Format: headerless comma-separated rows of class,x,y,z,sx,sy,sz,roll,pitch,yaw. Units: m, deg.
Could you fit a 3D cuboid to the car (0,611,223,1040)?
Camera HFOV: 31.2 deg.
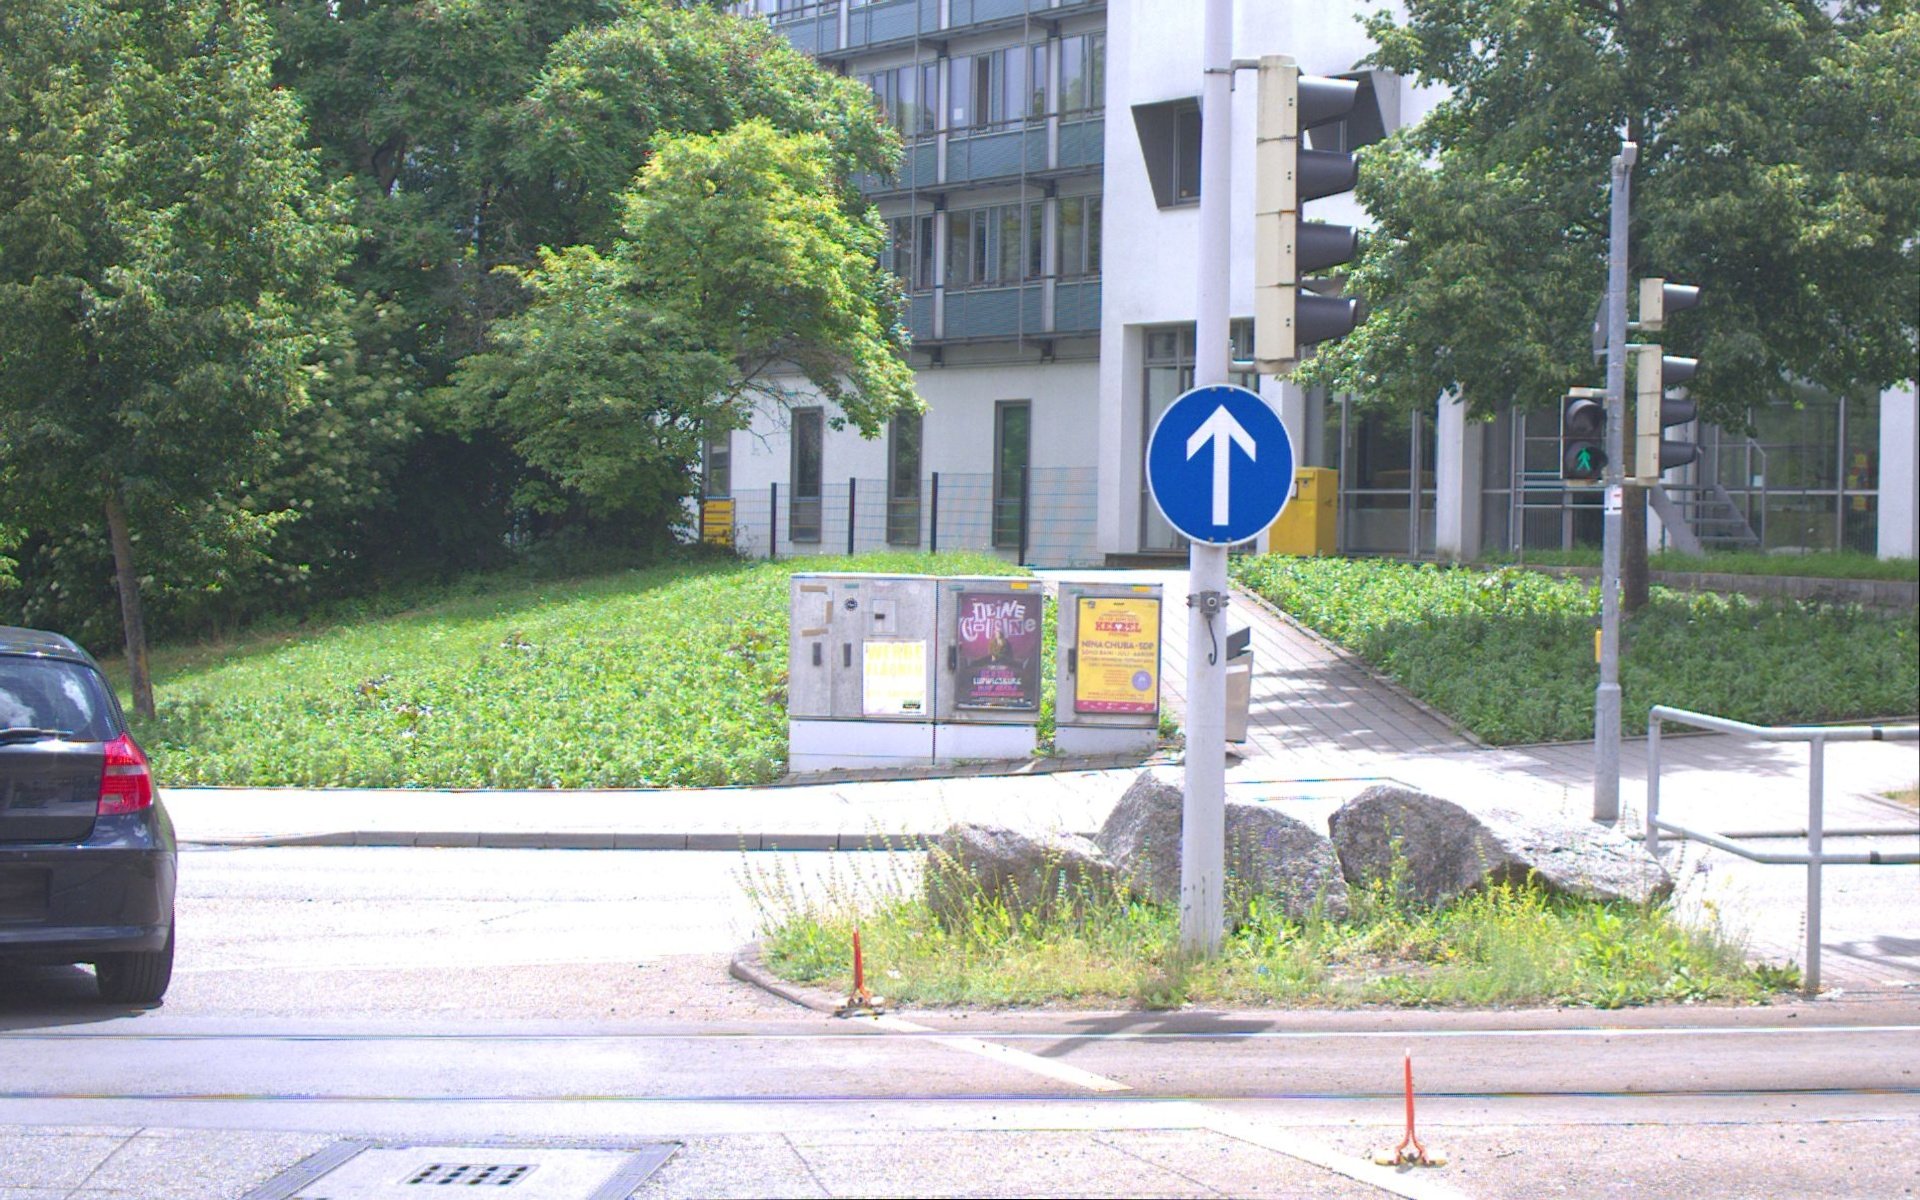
car,-4.213,0.783,13.496,1.815,1.416,4.001,-1,1,-23
